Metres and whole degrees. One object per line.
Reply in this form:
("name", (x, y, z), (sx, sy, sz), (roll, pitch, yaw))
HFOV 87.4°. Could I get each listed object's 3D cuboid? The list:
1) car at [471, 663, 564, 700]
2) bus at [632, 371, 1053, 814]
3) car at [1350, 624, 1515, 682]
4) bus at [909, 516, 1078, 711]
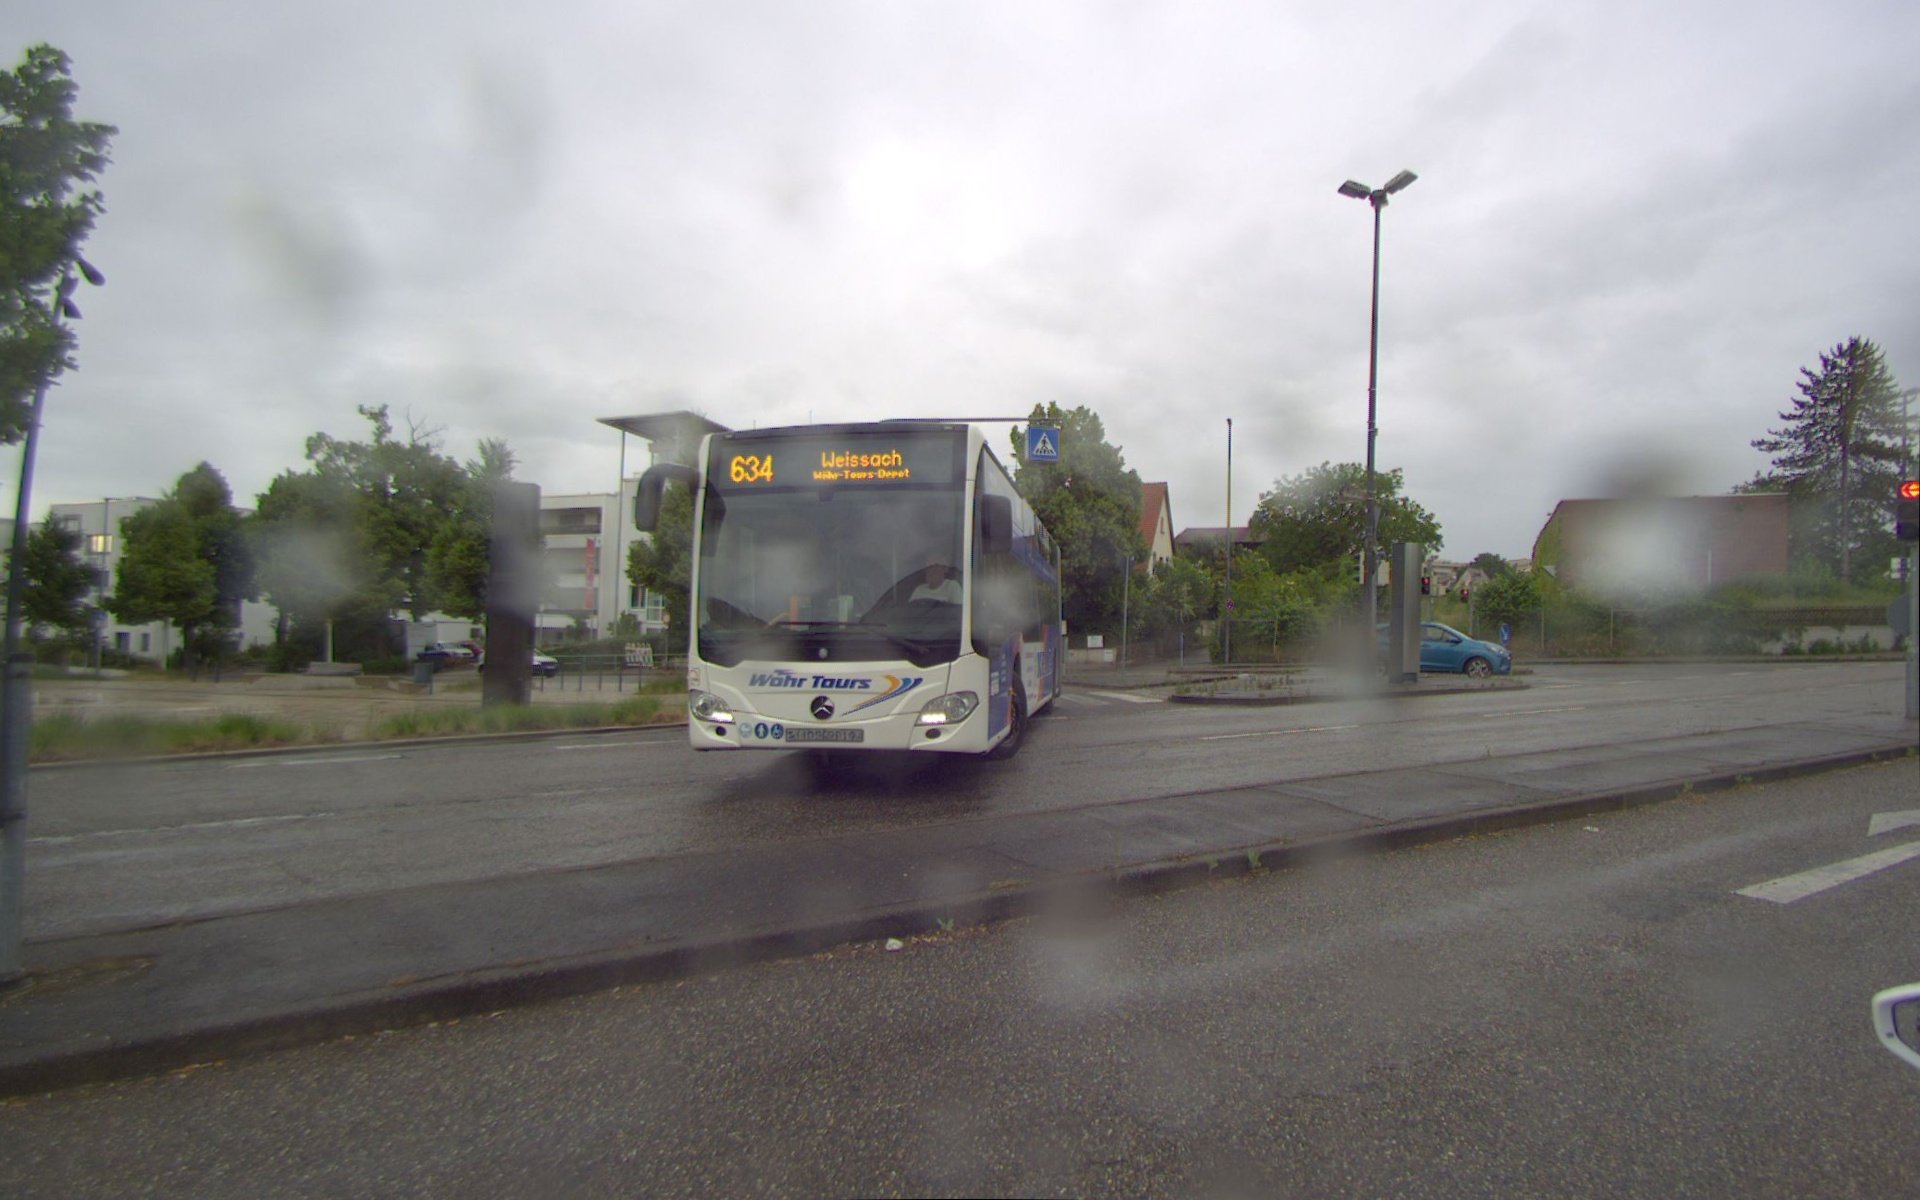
("car", (-19.438, 3.553, 44.104), (3.926, 1.486, 1.584), (-1, -2, 27))
("bus", (-0.475, 0.070, 11.727), (2.744, 3.155, 8.891), (1, -2, 7))
("car", (12.411, 1.365, 26.432), (3.686, 1.437, 1.762), (-2, -2, 34))
("bus", (0.415, 0.362, 21.110), (2.731, 3.155, 9.367), (1, -2, -2))
